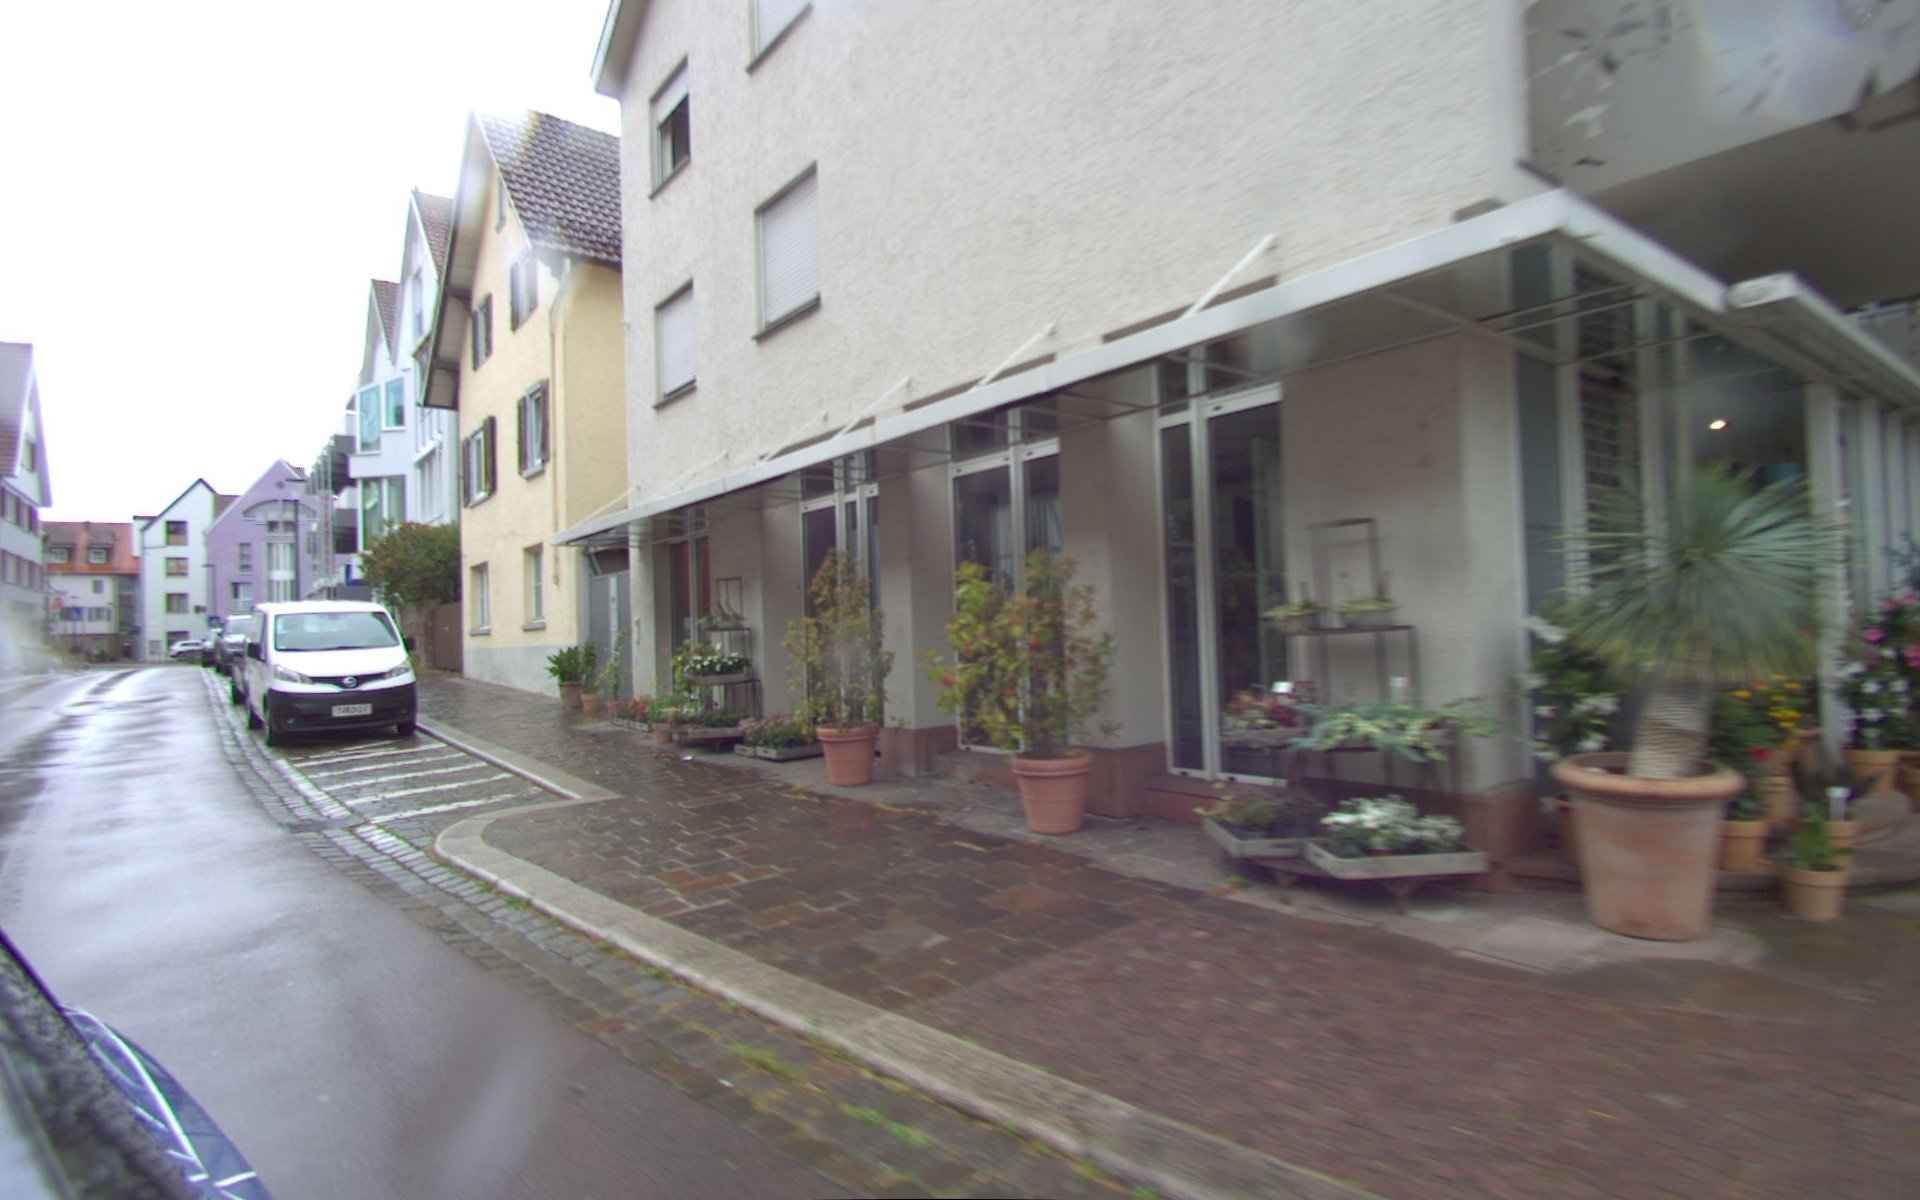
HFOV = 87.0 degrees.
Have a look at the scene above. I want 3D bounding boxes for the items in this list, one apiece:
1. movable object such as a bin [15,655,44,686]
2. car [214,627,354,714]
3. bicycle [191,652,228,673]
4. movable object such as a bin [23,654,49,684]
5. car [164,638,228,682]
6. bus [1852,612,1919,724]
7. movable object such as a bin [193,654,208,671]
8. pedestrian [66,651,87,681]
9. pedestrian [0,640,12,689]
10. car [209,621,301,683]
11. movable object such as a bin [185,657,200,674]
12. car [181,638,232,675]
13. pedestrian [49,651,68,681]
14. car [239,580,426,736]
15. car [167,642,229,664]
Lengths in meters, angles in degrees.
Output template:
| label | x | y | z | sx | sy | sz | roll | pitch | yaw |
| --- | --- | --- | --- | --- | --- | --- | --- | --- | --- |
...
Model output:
| label | x | y | z | sx | sy | sz | roll | pitch | yaw |
| --- | --- | --- | --- | --- | --- | --- | --- | --- | --- |
| movable object such as a bin | -35.082 | 2.647 | 38.164 | 0.719 | 1.089 | 0.648 | -1 | -2 | -37 |
| car | -12.671 | 1.232 | 18.881 | 1.660 | 1.399 | 3.830 | -1 | 0 | -41 |
| bicycle | -45.601 | 3.811 | 61.496 | 0.443 | 1.173 | 1.732 | -1 | 0 | 32 |
| movable object such as a bin | -35.952 | 2.684 | 39.364 | 0.667 | 1.092 | 0.699 | -1 | -2 | -37 |
| car | -28.538 | 2.224 | 37.865 | 1.806 | 1.510 | 4.773 | 0 | -3 | -37 |
| bus | 27.803 | 1.623 | 23.838 | 2.743 | 3.013 | 10.579 | -1 | -3 | -11 |
| movable object such as a bin | -50.977 | 4.187 | 67.906 | 0.669 | 1.082 | 0.679 | -4 | -2 | 43 |
| pedestrian | -58.387 | 4.332 | 66.892 | 0.801 | 1.919 | 0.767 | -1 | 0 | 26 |
| pedestrian | -34.503 | 2.297 | 35.933 | 1.163 | 1.710 | 1.179 | 1 | -3 | -41 |
| car | -20.234 | 1.426 | 28.967 | 1.757 | 1.580 | 4.415 | -1 | 0 | -40 |
| movable object such as a bin | -50.171 | 4.285 | 66.149 | 0.669 | 1.084 | 0.679 | -4 | -2 | 43 |
| car | -35.533 | 2.624 | 47.674 | 1.768 | 1.562 | 4.008 | -2 | 0 | -38 |
| pedestrian | -59.105 | 4.329 | 66.345 | 0.655 | 1.917 | 0.650 | -1 | -3 | 26 |
| car | -8.936 | 0.713 | 14.233 | 1.701 | 1.839 | 4.436 | -1 | 0 | -39 |
| car | -64.061 | 4.453 | 85.152 | 3.931 | 1.595 | 1.838 | -1 | 0 | -31 |
